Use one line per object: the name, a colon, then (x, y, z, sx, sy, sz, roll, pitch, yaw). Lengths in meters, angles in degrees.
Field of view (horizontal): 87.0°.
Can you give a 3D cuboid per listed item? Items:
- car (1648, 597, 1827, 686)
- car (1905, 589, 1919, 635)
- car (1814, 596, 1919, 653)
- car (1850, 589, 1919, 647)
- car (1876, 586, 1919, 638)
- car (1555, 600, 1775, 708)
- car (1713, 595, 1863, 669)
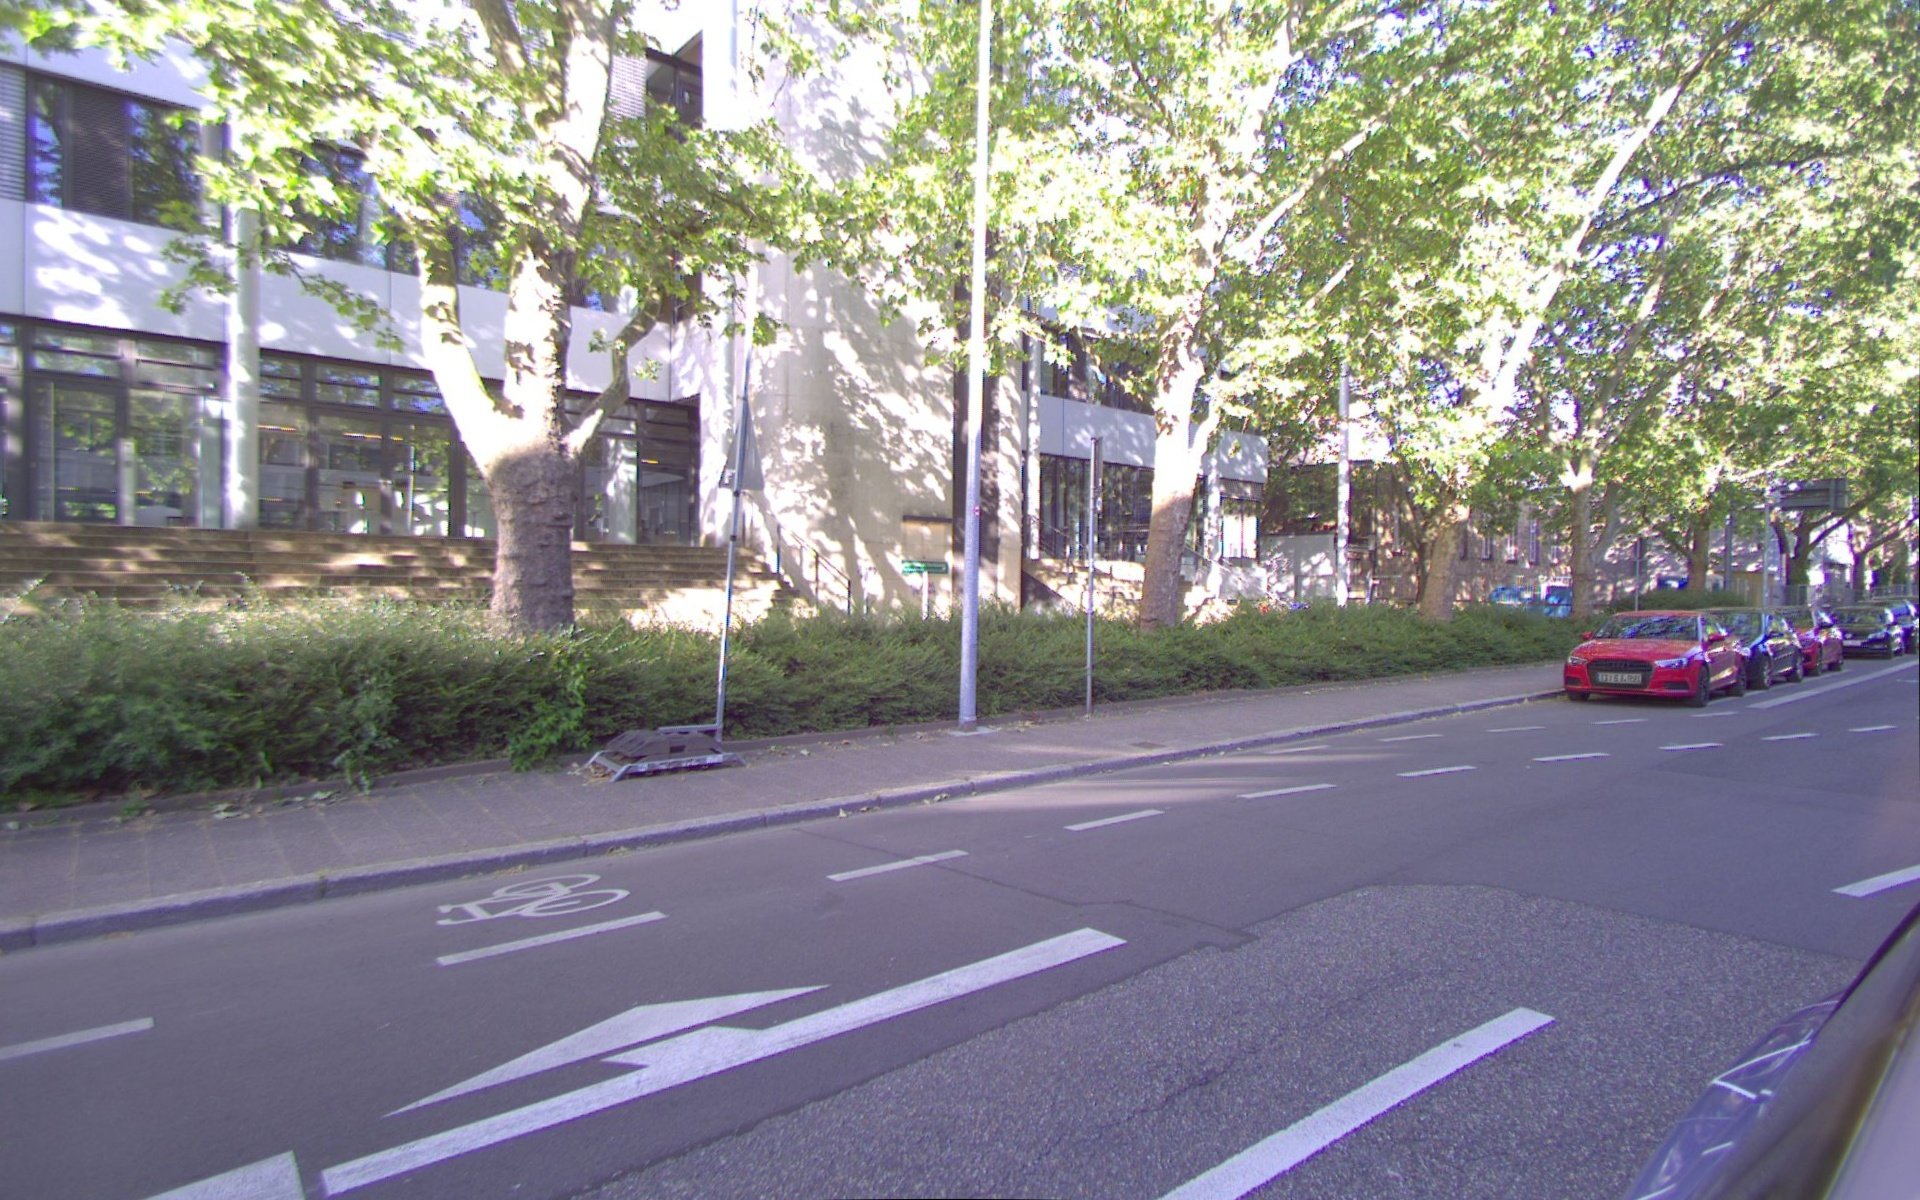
car: (14.770, 0.695, 19.140, 4.403, 1.469, 1.865, 0, 0, -41)
car: (38.878, 0.446, 39.965, 4.403, 1.781, 1.865, 0, 0, -41)
car: (25.794, 0.624, 28.610, 4.403, 1.469, 1.865, 0, 0, -41)
car: (29.574, 0.516, 31.805, 4.403, 1.689, 1.865, 0, 0, -41)
car: (33.912, 0.397, 35.695, 4.403, 1.781, 1.865, 0, 0, -41)
car: (11.322, 0.741, 16.139, 4.403, 1.469, 1.865, 0, 0, -41)
car: (18.438, 0.639, 22.477, 4.403, 1.469, 1.865, 0, 0, -41)
